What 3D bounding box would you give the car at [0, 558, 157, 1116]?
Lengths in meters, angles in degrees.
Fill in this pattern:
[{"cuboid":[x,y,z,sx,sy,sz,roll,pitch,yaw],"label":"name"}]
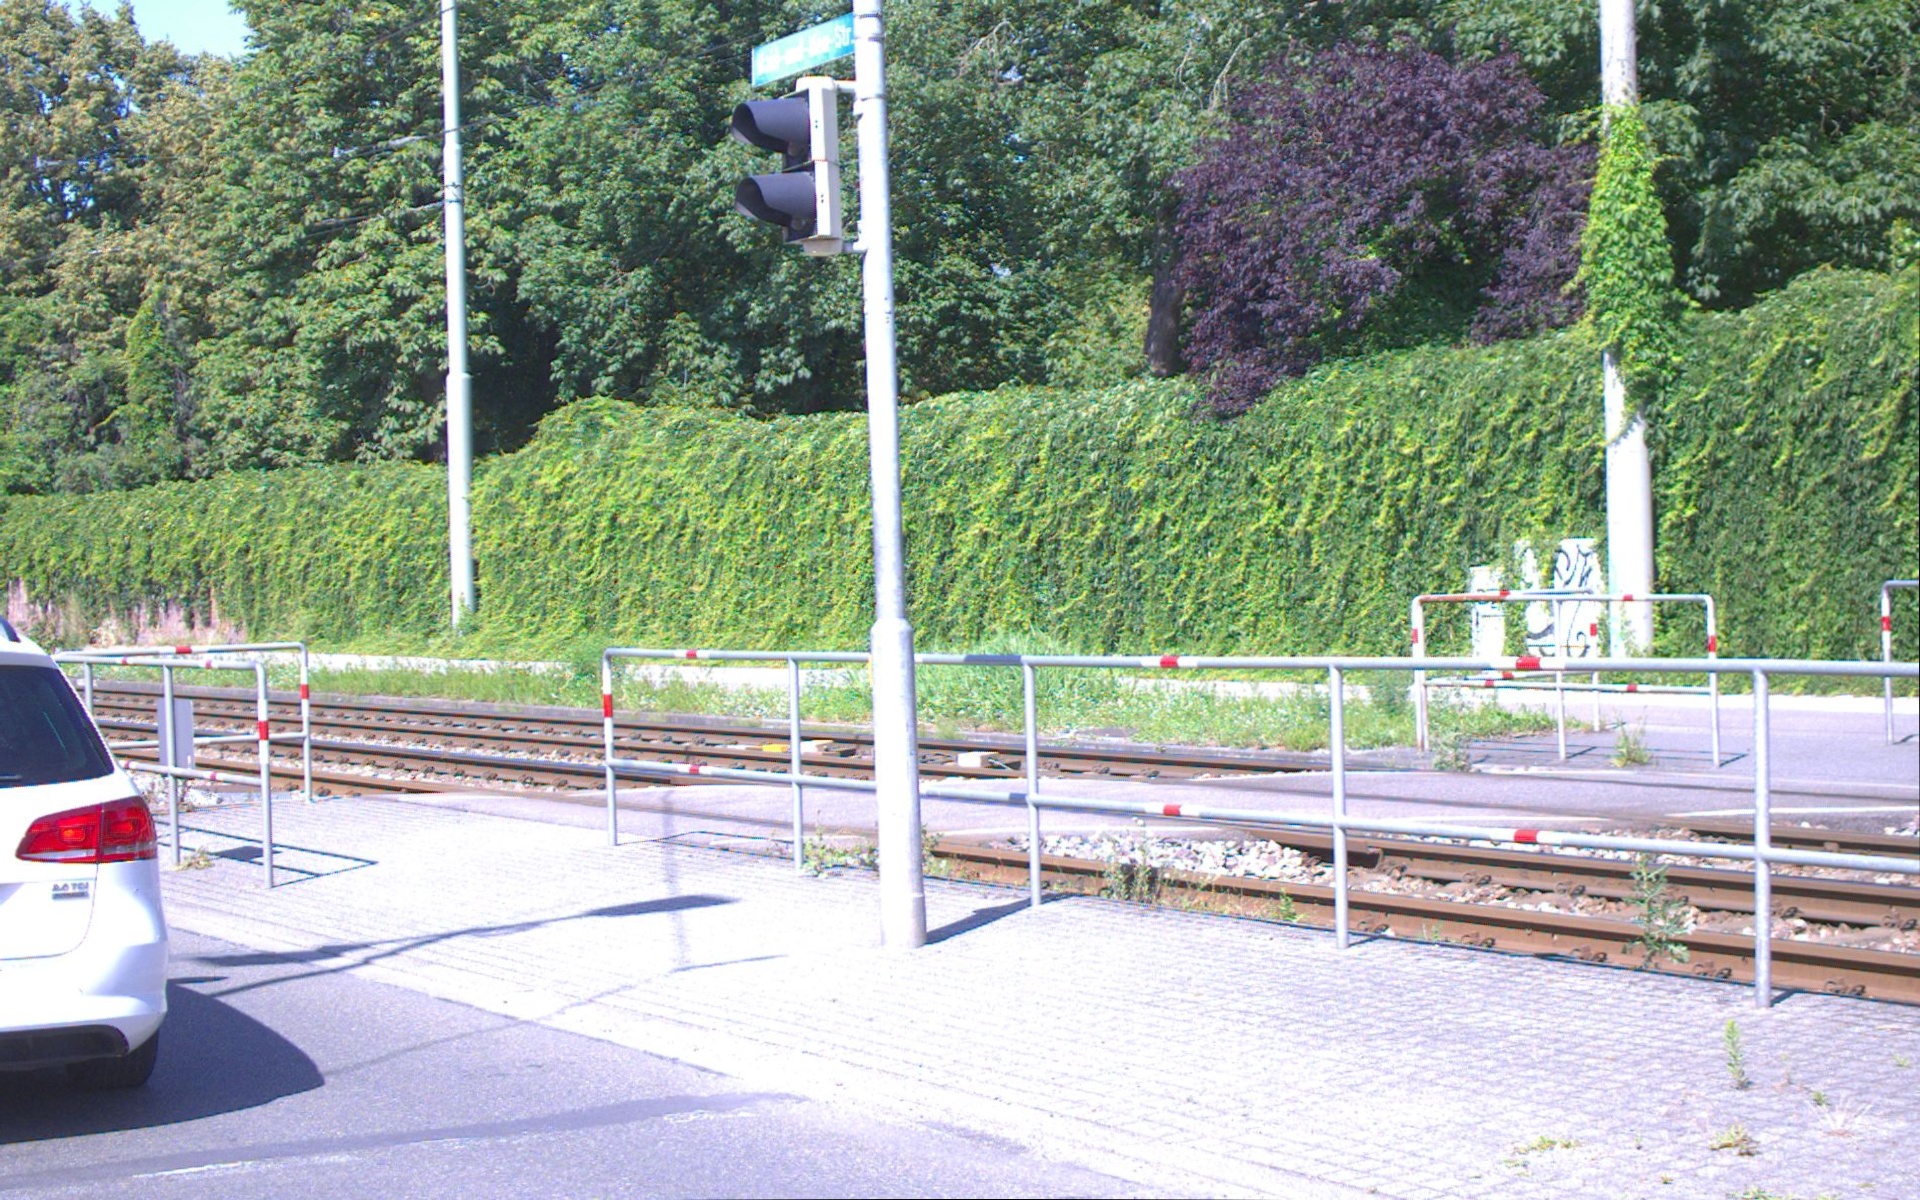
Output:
[{"cuboid":[-3.804,0.637,10.802,1.691,1.446,4.459,-1,0,-24],"label":"car"}]
